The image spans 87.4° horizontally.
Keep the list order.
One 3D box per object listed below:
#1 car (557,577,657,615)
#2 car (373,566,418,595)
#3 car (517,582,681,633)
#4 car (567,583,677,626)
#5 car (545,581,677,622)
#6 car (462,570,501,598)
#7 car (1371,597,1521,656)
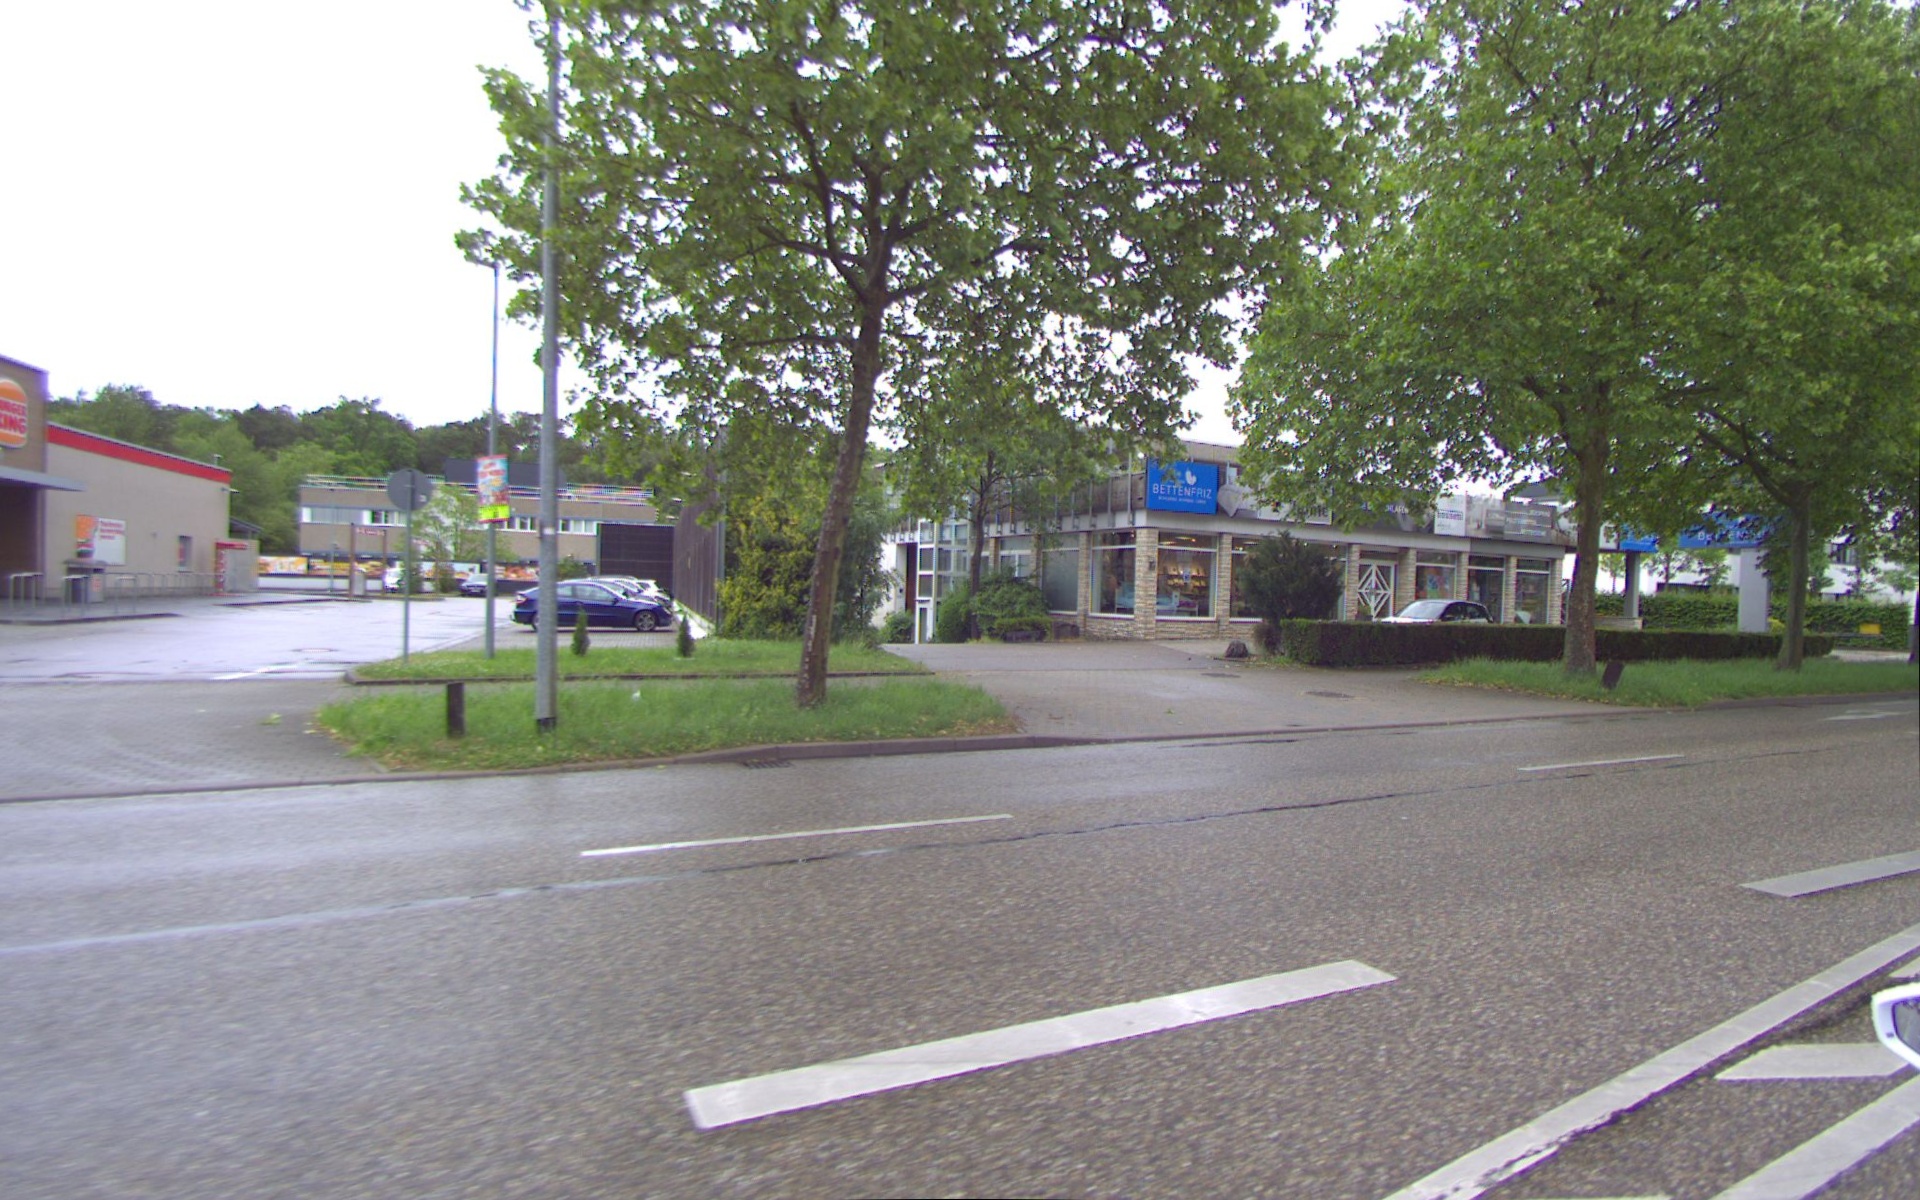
[{"bbox_3d":[-16.290,-0.174,46.522,4.246,1.660,1.864,1,0,-17],"label":"car"},{"bbox_3d":[-34.419,-1.149,61.372,1.689,1.651,3.827,1,0,-19],"label":"car"},{"bbox_3d":[-10.139,0.203,28.490,4.245,1.383,1.864,0,0,-17],"label":"car"},{"bbox_3d":[-14.121,0.199,42.179,4.246,1.660,1.864,1,0,-17],"label":"car"},{"bbox_3d":[-12.157,0.044,35.233,4.245,1.383,1.864,0,0,-17],"label":"car"},{"bbox_3d":[-30.124,-1.008,63.323,1.689,1.651,3.827,1,0,-19],"label":"car"},{"bbox_3d":[13.234,0.718,27.309,3.893,1.506,1.814,1,0,-30],"label":"car"}]
